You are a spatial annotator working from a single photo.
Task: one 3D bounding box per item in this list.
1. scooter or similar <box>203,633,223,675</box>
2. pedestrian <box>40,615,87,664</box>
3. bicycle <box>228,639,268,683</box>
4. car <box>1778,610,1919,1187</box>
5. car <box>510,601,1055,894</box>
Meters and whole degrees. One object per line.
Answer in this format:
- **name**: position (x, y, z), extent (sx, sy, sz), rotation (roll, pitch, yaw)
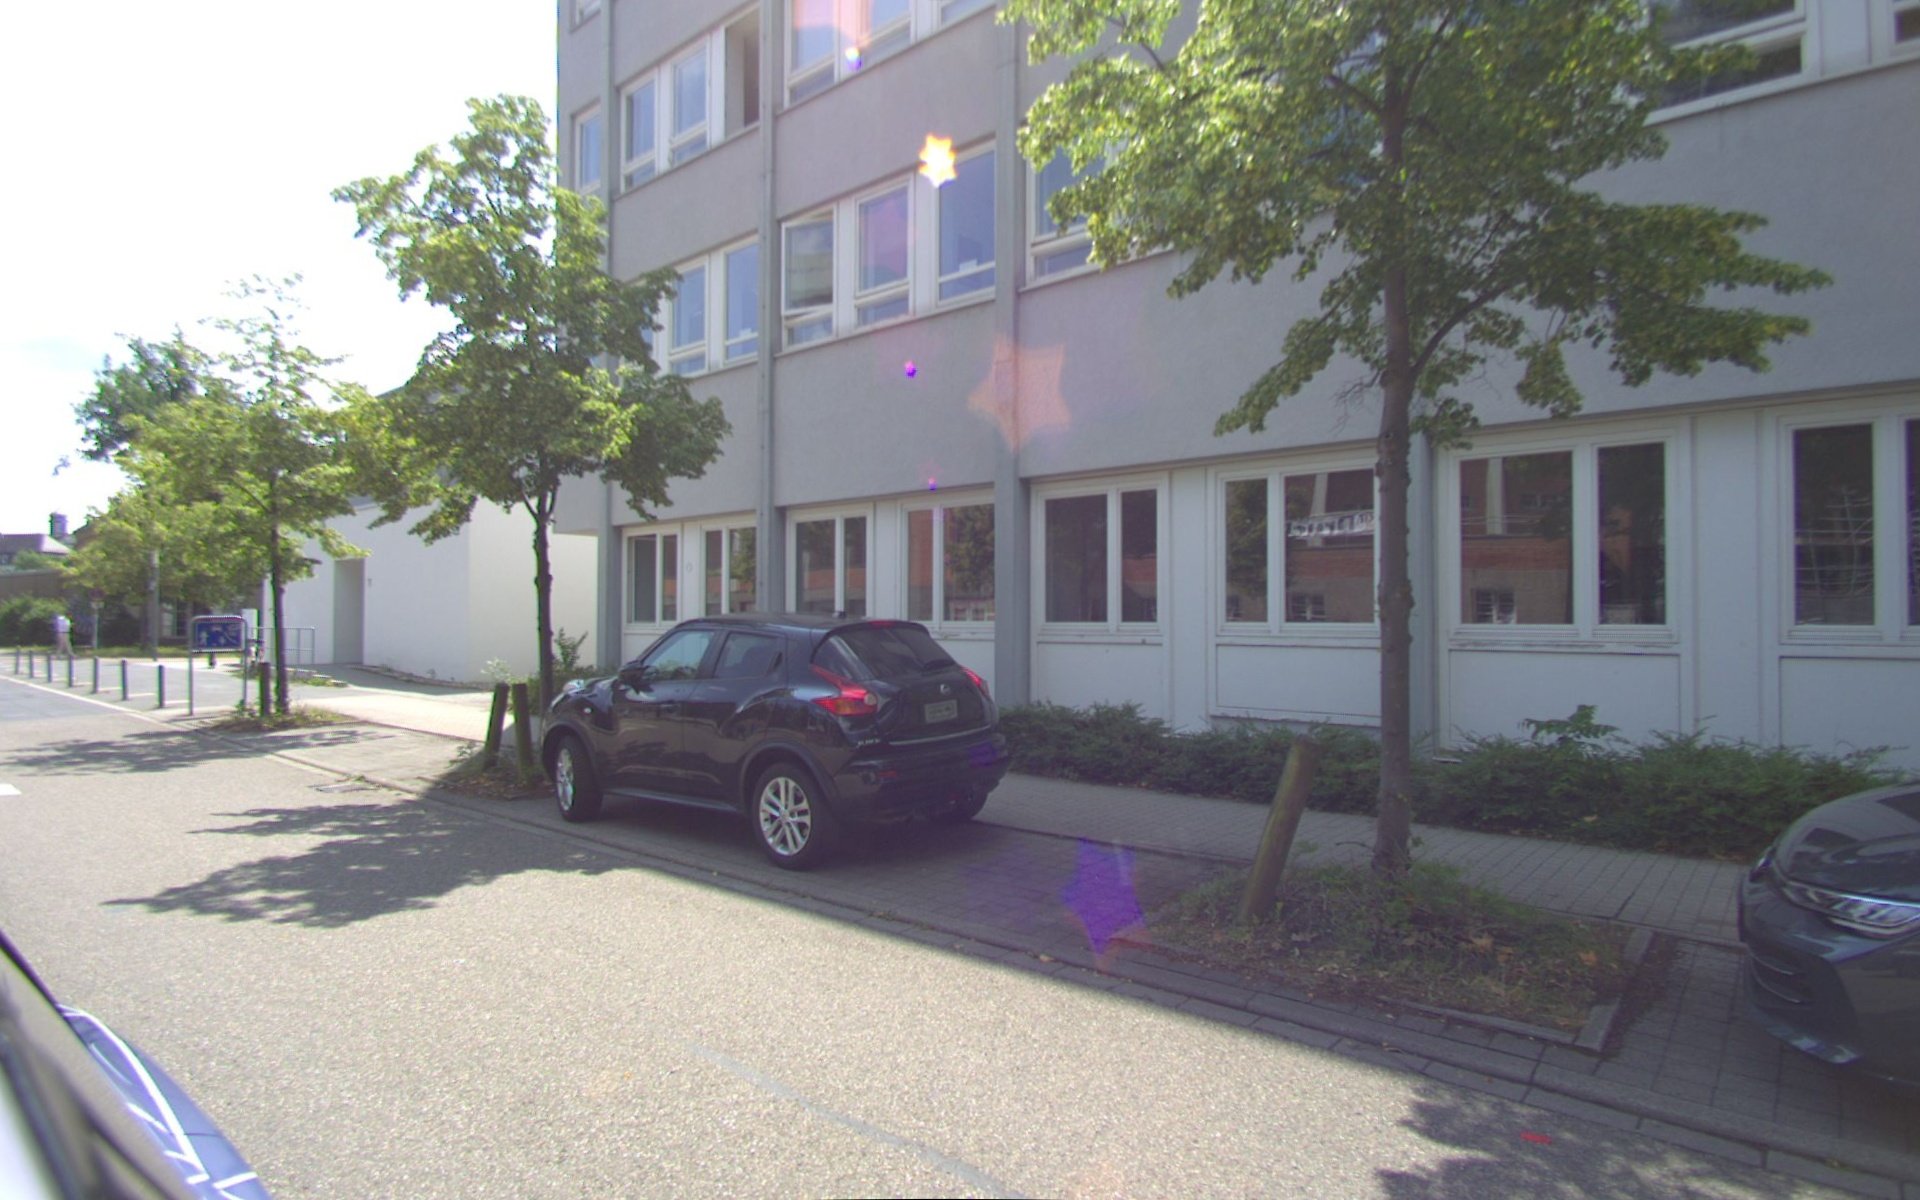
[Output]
- **scooter or similar**: position (-23.107, 1.647, 31.311), extent (0.476, 1.272, 1.316), rotation (1, -2, -37)
- **pedestrian**: position (-34.729, 1.547, 39.234), extent (1.007, 1.862, 0.919), rotation (2, -3, -19)
- **bicycle**: position (-18.303, 1.538, 26.007), extent (0.537, 1.069, 1.900), rotation (1, -2, -44)
- **car**: position (4.483, 0.745, 2.119), extent (4.254, 1.472, 1.760), rotation (-1, -1, 39)
- **car**: position (-1.464, 0.847, 7.397), extent (4.063, 1.576, 1.680), rotation (-1, -2, 39)
